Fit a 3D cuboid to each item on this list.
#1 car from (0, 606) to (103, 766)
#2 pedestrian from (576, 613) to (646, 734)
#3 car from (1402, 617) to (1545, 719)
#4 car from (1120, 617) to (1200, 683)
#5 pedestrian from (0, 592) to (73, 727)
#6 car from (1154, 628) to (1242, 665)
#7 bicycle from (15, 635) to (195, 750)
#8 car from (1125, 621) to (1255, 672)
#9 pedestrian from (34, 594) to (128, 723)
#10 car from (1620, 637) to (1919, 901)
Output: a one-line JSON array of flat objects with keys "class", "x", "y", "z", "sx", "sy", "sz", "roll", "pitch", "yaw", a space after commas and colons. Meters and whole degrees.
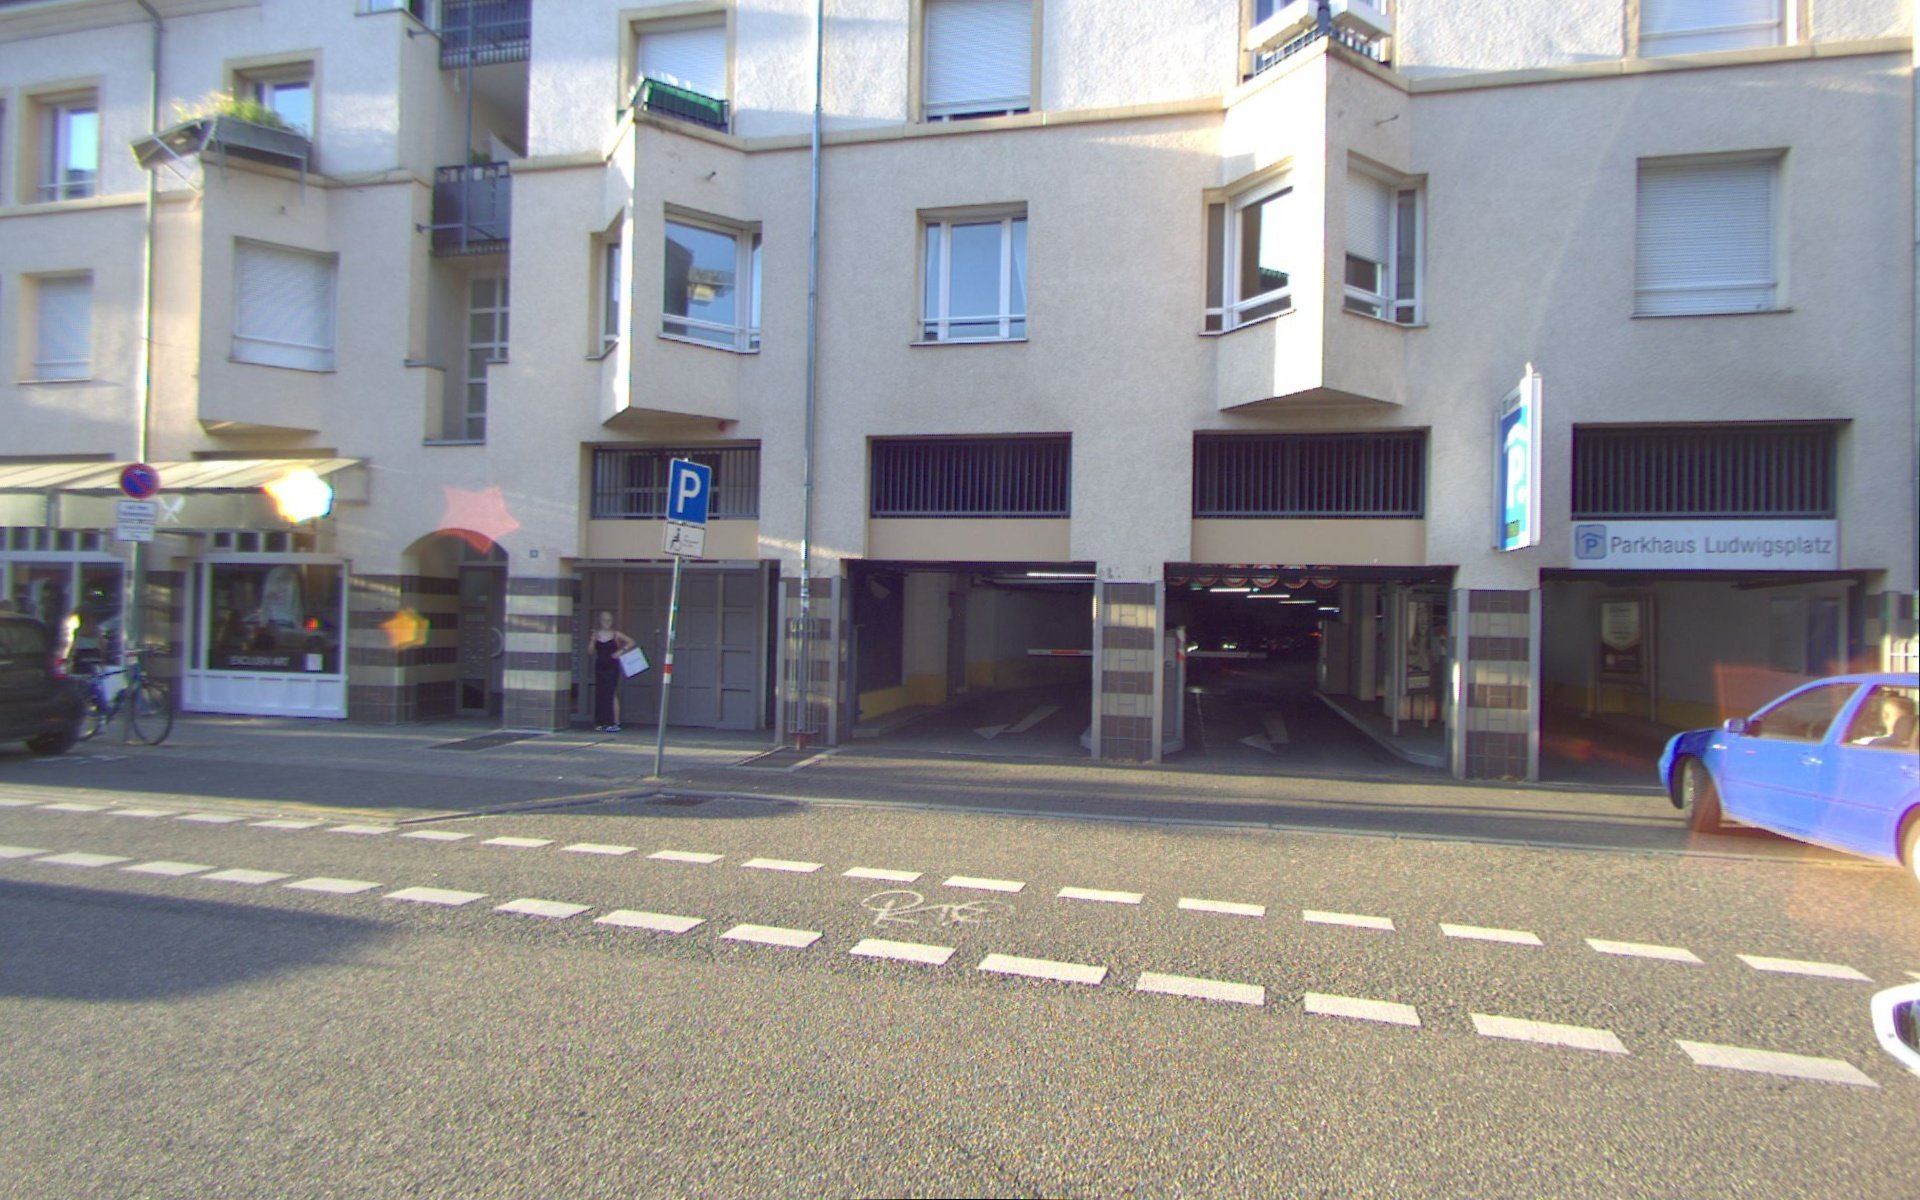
[{"class": "car", "x": -11.500, "y": 0.821, "z": 10.484, "sx": 3.886, "sy": 1.601, "sz": 1.796, "roll": 1, "pitch": -2, "yaw": 10}, {"class": "pedestrian", "x": -4.740, "y": 0.980, "z": 13.636, "sx": 0.769, "sy": 1.593, "sz": 0.530, "roll": 2, "pitch": -2, "yaw": -29}, {"class": "car", "x": 9.401, "y": 1.157, "z": 18.672, "sx": 1.529, "sy": 1.639, "sz": 3.883, "roll": 1, "pitch": -1, "yaw": 14}, {"class": "car", "x": 5.438, "y": 1.311, "z": 26.943, "sx": 1.782, "sy": 1.593, "sz": 4.253, "roll": 0, "pitch": -2, "yaw": 16}, {"class": "pedestrian", "x": -12.523, "y": 0.767, "z": 13.311, "sx": 1.019, "sy": 1.722, "sz": 0.632, "roll": 1, "pitch": -1, "yaw": 12}, {"class": "car", "x": 9.884, "y": 1.904, "z": 41.915, "sx": 1.586, "sy": 1.410, "sz": 3.858, "roll": 1, "pitch": -1, "yaw": -24}, {"class": "bicycle", "x": -9.975, "y": 1.051, "z": 11.715, "sx": 1.937, "sy": 1.222, "sz": 0.560, "roll": 1, "pitch": -1, "yaw": 15}, {"class": "car", "x": 8.224, "y": 1.642, "z": 35.900, "sx": 4.218, "sy": 1.645, "sz": 1.890, "roll": 1, "pitch": -1, "yaw": 24}, {"class": "pedestrian", "x": -12.142, "y": 0.789, "z": 13.882, "sx": 0.815, "sy": 1.722, "sz": 0.561, "roll": 1, "pitch": -1, "yaw": 12}, {"class": "car", "x": 6.730, "y": 1.090, "z": 7.144, "sx": 1.659, "sy": 1.583, "sz": 4.122, "roll": 1, "pitch": -2, "yaw": 5}]
